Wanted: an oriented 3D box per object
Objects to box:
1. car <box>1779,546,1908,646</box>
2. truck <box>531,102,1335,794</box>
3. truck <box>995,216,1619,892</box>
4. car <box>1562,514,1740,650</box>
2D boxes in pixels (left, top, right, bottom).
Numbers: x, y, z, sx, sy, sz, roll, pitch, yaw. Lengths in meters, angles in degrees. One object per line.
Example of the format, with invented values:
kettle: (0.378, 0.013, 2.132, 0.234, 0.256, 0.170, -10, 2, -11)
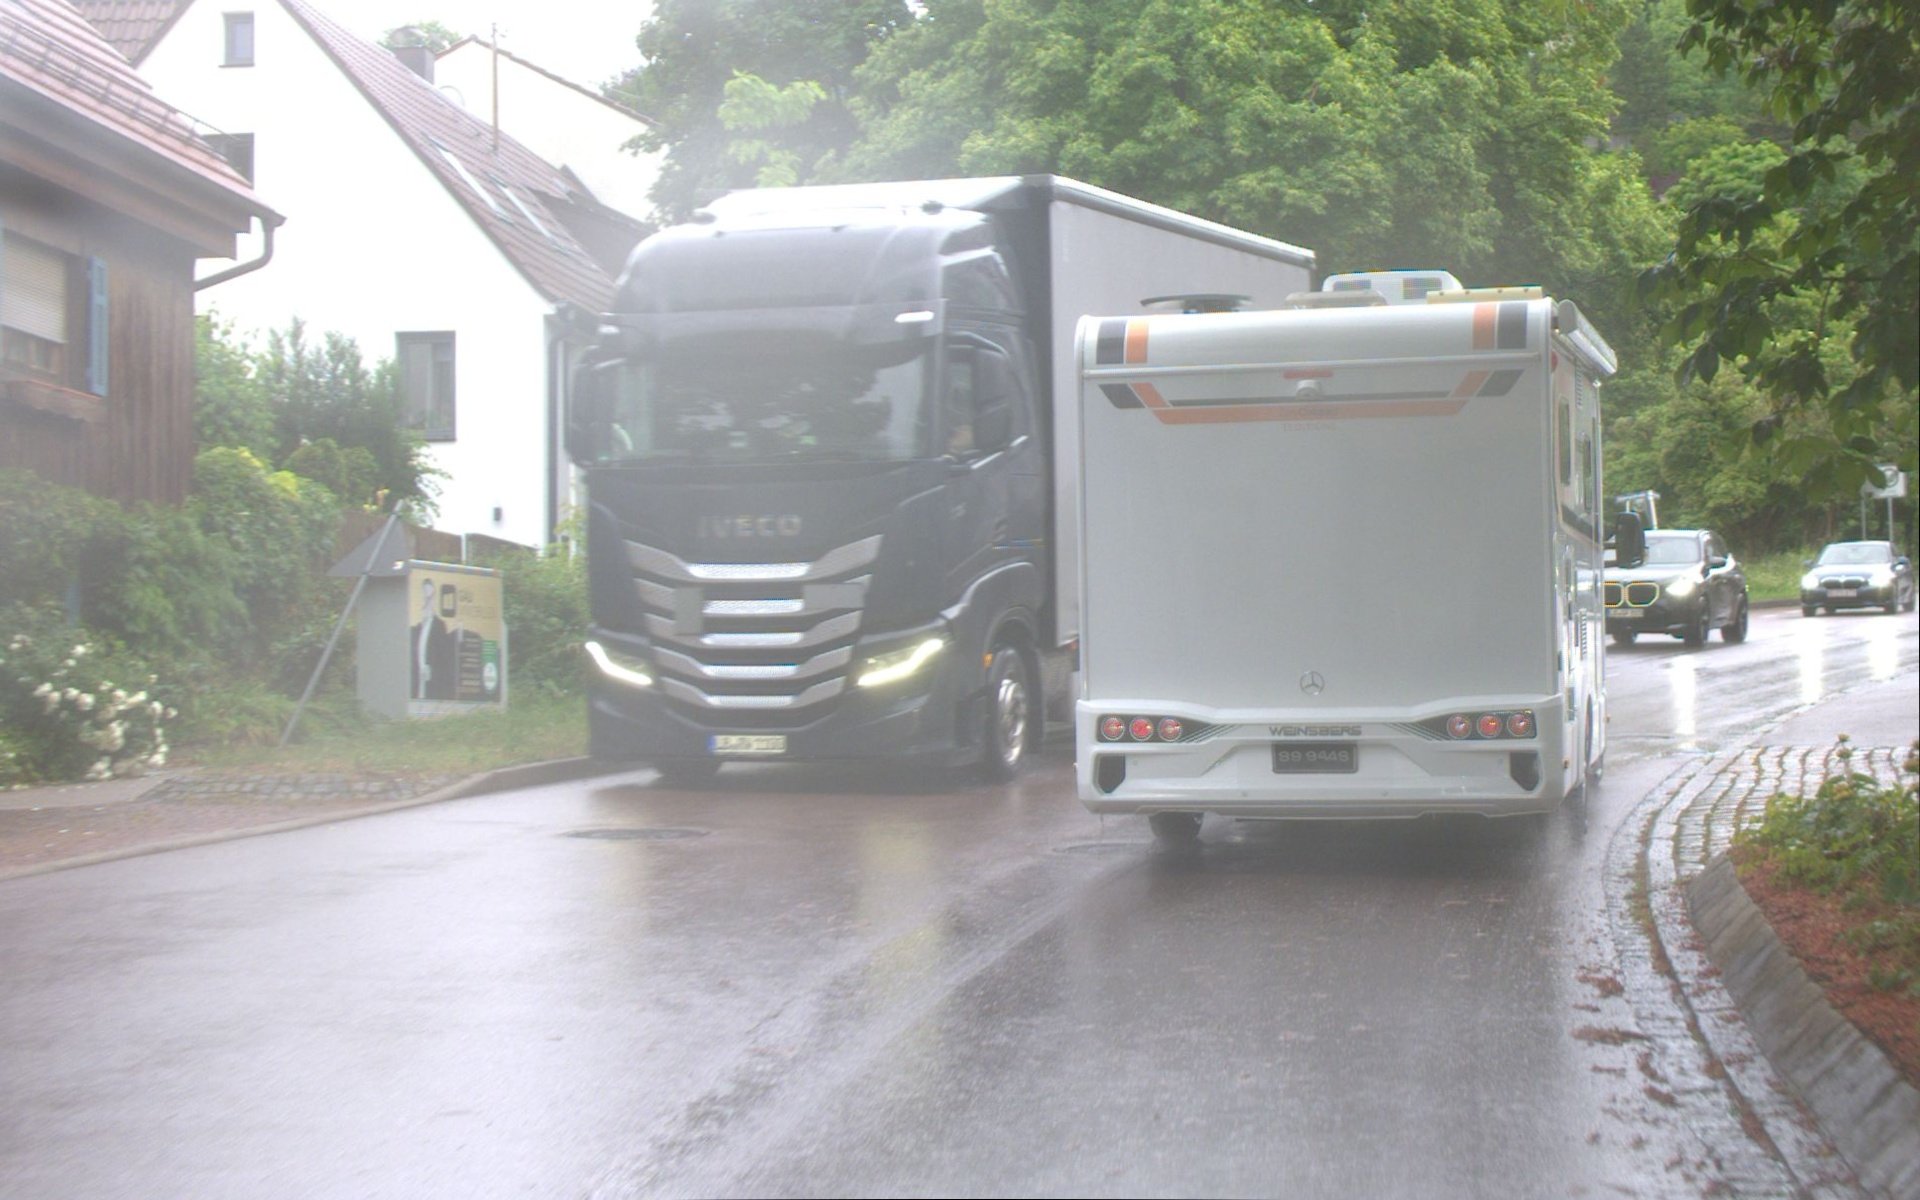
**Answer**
car: (17.402, -0.080, 67.615, 1.996, 1.888, 3.996, 0, 0, 21)
truck: (0.292, -0.980, 25.793, 2.840, 4.152, 9.967, 0, 1, 19)
truck: (2.117, -0.204, 18.464, 2.696, 2.976, 6.233, 0, 0, 12)
car: (9.879, -0.248, 48.979, 1.837, 1.844, 3.996, 0, 0, 21)
